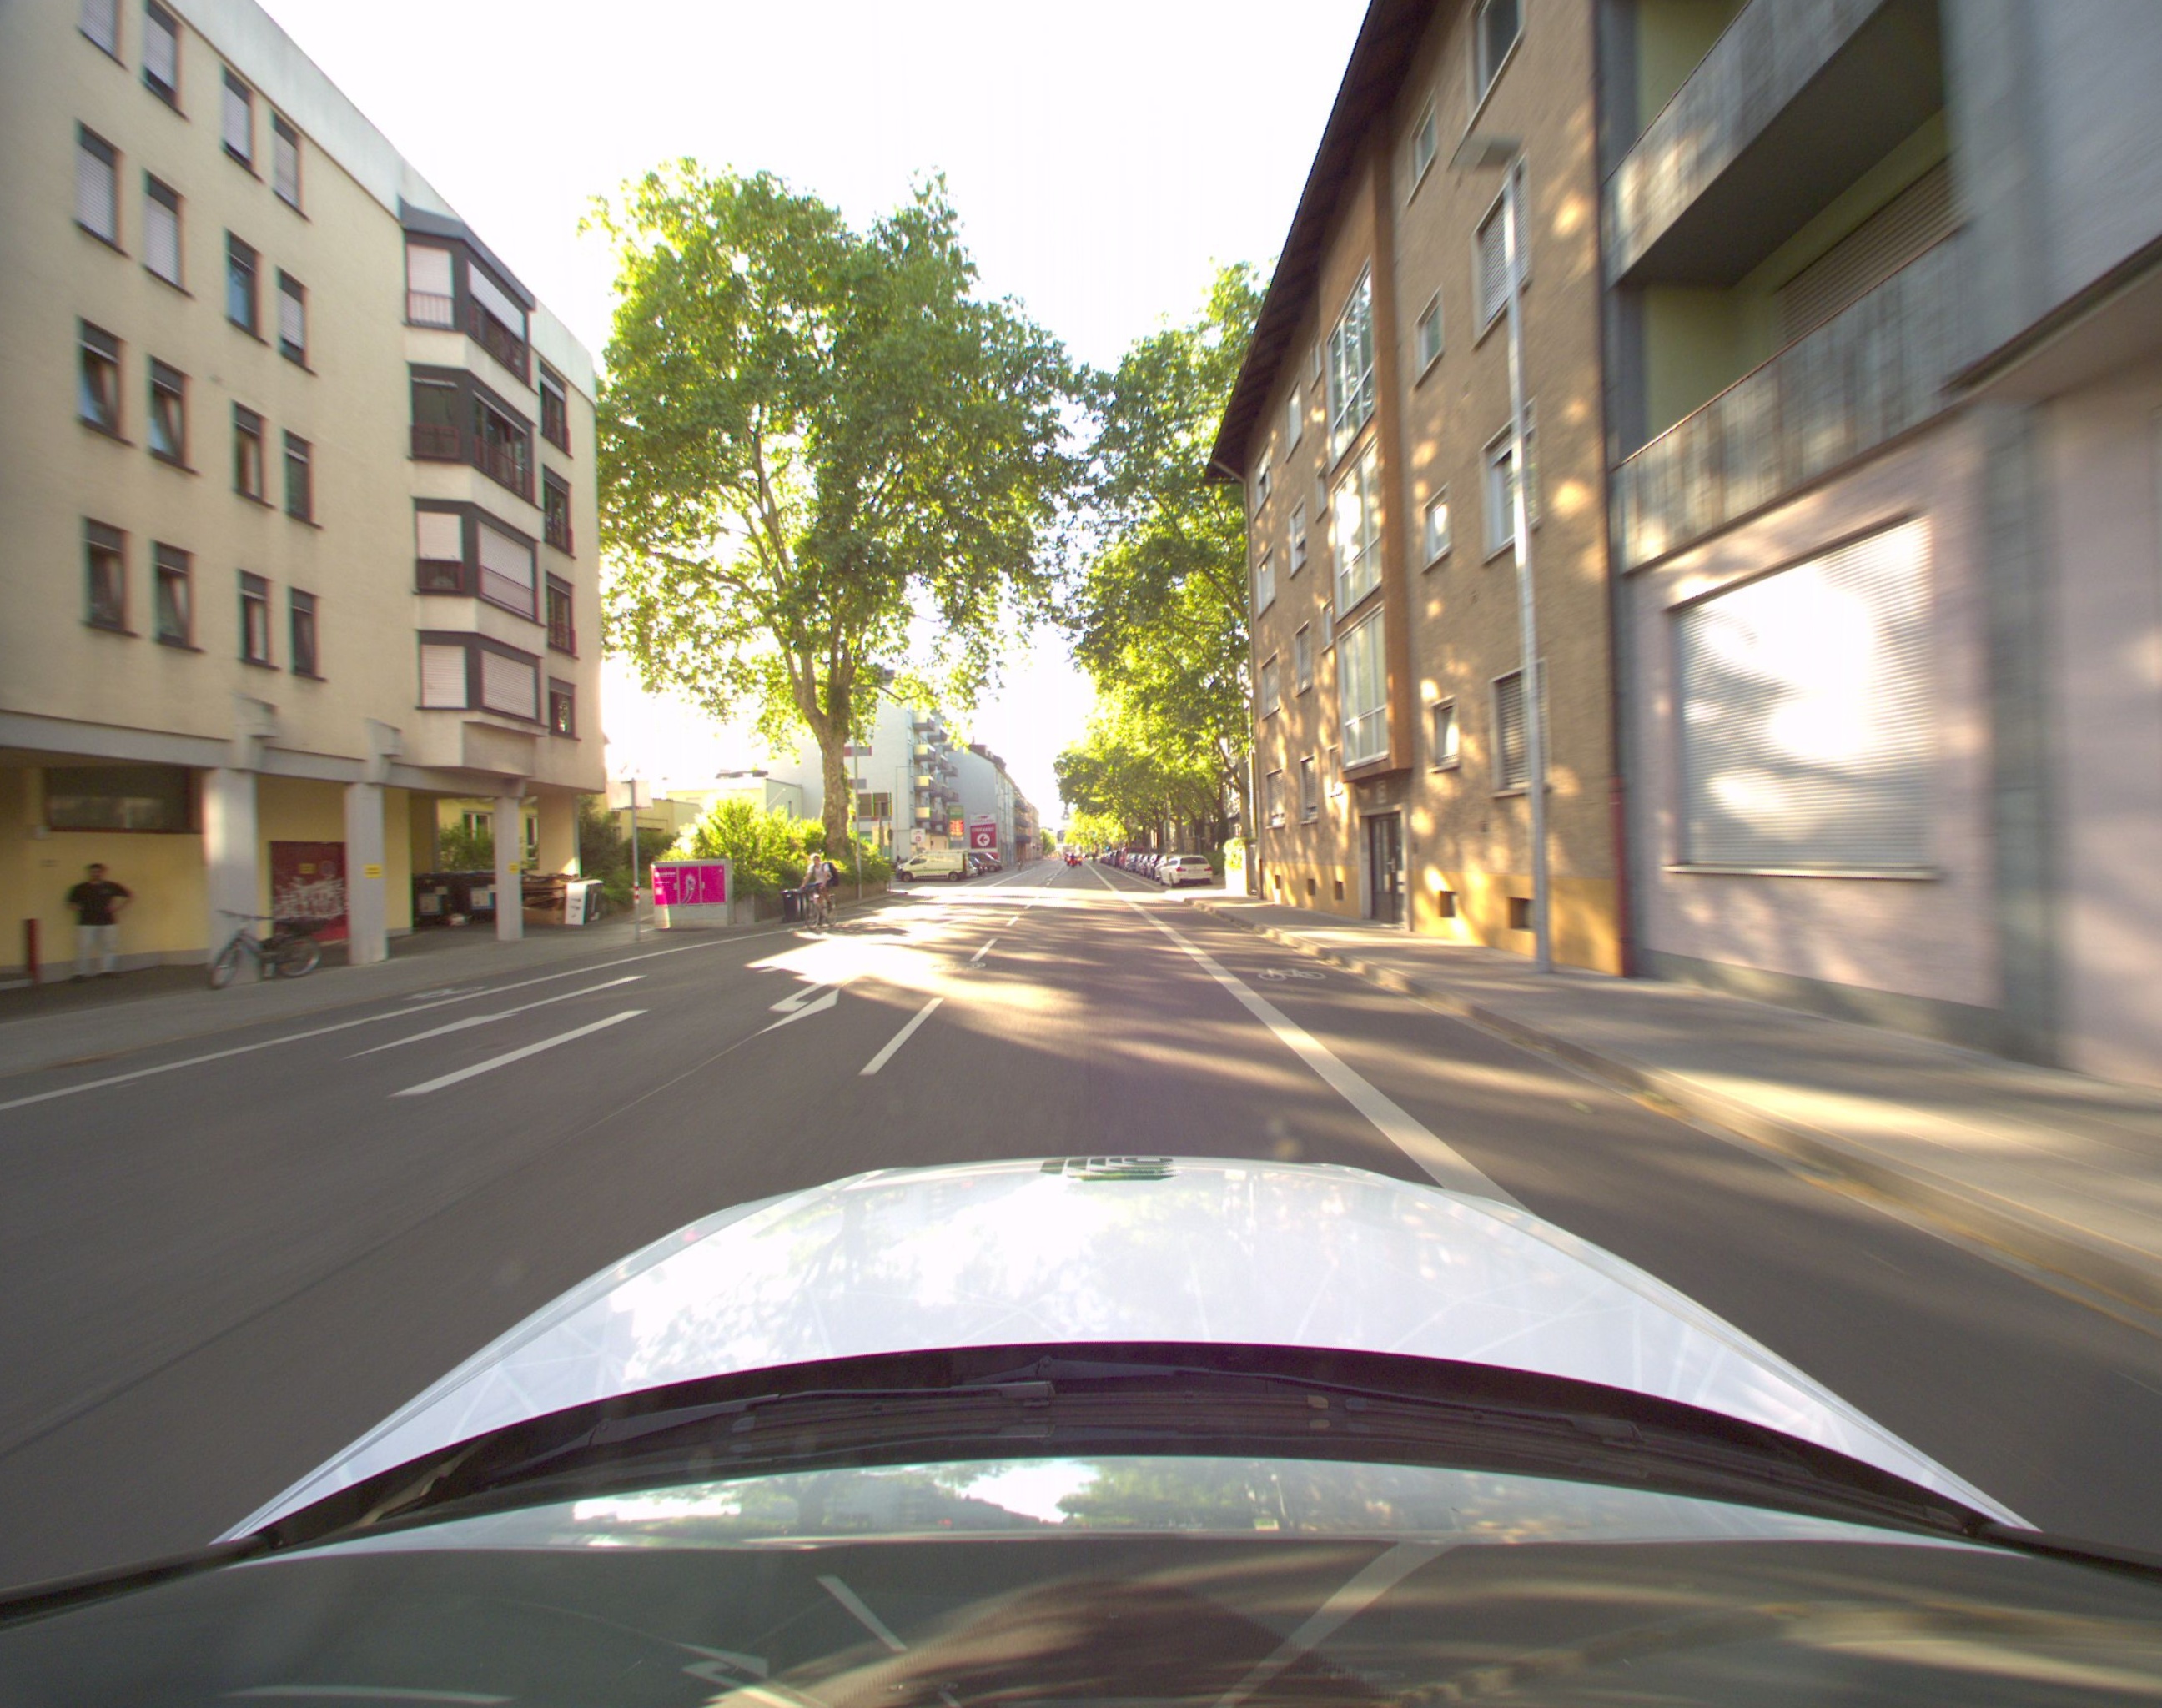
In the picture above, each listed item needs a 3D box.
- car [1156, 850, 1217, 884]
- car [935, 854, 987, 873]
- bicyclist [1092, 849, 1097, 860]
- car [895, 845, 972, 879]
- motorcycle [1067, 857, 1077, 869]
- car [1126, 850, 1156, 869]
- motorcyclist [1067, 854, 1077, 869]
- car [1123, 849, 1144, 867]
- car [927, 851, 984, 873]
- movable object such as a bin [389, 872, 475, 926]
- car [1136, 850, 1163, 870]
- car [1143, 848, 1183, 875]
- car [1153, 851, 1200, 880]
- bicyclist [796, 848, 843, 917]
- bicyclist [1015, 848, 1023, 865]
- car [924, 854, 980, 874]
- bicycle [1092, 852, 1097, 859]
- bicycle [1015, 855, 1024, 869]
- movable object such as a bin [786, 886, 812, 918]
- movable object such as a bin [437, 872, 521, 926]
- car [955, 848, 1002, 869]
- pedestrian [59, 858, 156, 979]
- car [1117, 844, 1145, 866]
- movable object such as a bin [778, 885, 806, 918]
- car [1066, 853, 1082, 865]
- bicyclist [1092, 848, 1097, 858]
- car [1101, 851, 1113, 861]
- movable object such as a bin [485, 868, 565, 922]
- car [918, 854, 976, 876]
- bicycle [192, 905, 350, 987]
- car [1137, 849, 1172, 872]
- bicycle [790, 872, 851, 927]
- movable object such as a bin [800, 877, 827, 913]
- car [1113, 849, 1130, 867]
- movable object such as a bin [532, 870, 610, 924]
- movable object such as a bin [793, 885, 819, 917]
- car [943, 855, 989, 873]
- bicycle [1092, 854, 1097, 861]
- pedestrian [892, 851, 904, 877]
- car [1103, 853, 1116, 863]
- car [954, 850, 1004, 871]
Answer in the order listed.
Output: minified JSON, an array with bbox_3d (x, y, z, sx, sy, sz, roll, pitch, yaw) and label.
[{"bbox_3d":[4.808,0.562,37.768,1.851,1.436,4.963,-1,0,-4],"label":"car"},{"bbox_3d":[-9.851,0.768,67.188,3.976,1.455,1.915,-1,0,-2],"label":"car"},{"bbox_3d":[2.049,0.070,121.996,0.654,1.530,0.851,0,-1,-2],"label":"bicyclist"},{"bbox_3d":[-9.962,0.526,55.336,4.830,2.216,2.139,0,0,-2],"label":"car"},{"bbox_3d":[-0.986,0.957,88.178,1.009,1.306,2.671,-2,0,-1],"label":"motorcycle"},{"bbox_3d":[4.767,0.411,65.143,1.851,1.510,3.924,1,0,-3],"label":"car"},{"bbox_3d":[-0.987,0.802,88.282,1.009,1.602,1.405,-2,0,-2],"label":"motorcyclist"},{"bbox_3d":[4.488,0.362,69.589,1.632,1.485,3.760,0,0,1],"label":"car"},{"bbox_3d":[-9.897,0.620,64.603,4.182,1.684,2.027,-1,0,-2],"label":"car"},{"bbox_3d":[-17.682,1.217,22.236,1.183,1.343,1.367,3,0,-1],"label":"movable object such as a bin"},{"bbox_3d":[5.070,0.431,60.795,1.609,1.475,3.490,0,0,-2],"label":"car"},{"bbox_3d":[4.862,0.411,48.895,1.850,1.522,4.294,0,0,-2],"label":"car"},{"bbox_3d":[5.009,0.582,43.269,1.850,1.436,4.599,-1,0,-2],"label":"car"},{"bbox_3d":[-6.457,0.681,20.151,0.726,1.641,1.168,-2,0,1],"label":"bicyclist"},{"bbox_3d":[-5.842,0.250,76.952,0.605,1.544,0.933,-4,1,-1],"label":"bicyclist"},{"bbox_3d":[-9.821,0.779,62.037,3.976,1.433,1.852,-1,0,-2],"label":"car"},{"bbox_3d":[2.163,0.212,129.952,0.654,1.111,2.184,0,-1,-1],"label":"bicycle"},{"bbox_3d":[-5.797,0.775,76.635,0.605,1.239,2.049,-4,1,-1],"label":"bicycle"},{"bbox_3d":[-8.347,1.408,24.110,0.540,0.901,0.559,-2,0,-1],"label":"movable object such as a bin"},{"bbox_3d":[-16.440,1.211,22.287,1.183,1.343,1.367,3,0,-1],"label":"movable object such as a bin"},{"bbox_3d":[-10.083,0.433,80.564,4.408,1.951,2.145,1,0,-1],"label":"car"},{"bbox_3d":[-15.498,0.995,12.985,0.608,1.869,0.799,-1,-1,16],"label":"pedestrian"},{"bbox_3d":[4.538,0.074,74.640,2.073,1.994,5.166,0,0,-3],"label":"car"},{"bbox_3d":[-8.342,1.371,23.517,0.540,0.901,0.604,-2,0,-1],"label":"movable object such as a bin"},{"bbox_3d":[-0.886,0.644,101.884,1.823,1.420,3.812,-1,0,-1],"label":"car"},{"bbox_3d":[2.163,-0.157,130.018,0.654,1.530,0.905,0,-1,-2],"label":"bicyclist"},{"bbox_3d":[3.868,0.298,122.931,1.687,1.466,4.065,0,0,0],"label":"car"},{"bbox_3d":[-15.203,1.102,22.322,1.183,1.343,1.367,3,0,-1],"label":"movable object such as a bin"},{"bbox_3d":[-9.824,0.777,59.911,3.976,1.559,1.852,-1,0,-2],"label":"car"},{"bbox_3d":[-12.623,1.397,12.786,0.447,1.045,2.010,-2,0,-1],"label":"bicycle"},{"bbox_3d":[4.900,0.404,55.054,1.850,1.522,4.596,0,0,-2],"label":"car"},{"bbox_3d":[-6.443,1.094,20.274,0.726,1.199,2.179,-3,0,1],"label":"bicycle"},{"bbox_3d":[-8.326,1.260,25.396,0.592,1.071,0.644,-2,0,-1],"label":"movable object such as a bin"},{"bbox_3d":[4.247,0.402,85.732,1.687,1.813,4.130,0,0,0],"label":"car"},{"bbox_3d":[-13.963,1.168,22.352,1.183,1.343,1.367,3,0,-1],"label":"movable object such as a bin"},{"bbox_3d":[-8.355,1.414,24.727,0.540,0.901,0.644,-2,0,-1],"label":"movable object such as a bin"},{"bbox_3d":[-9.800,0.832,69.684,3.675,1.513,1.830,0,0,-1],"label":"car"},{"bbox_3d":[2.051,0.479,121.993,0.654,1.070,1.926,0,-1,-1],"label":"bicycle"},{"bbox_3d":[-13.041,0.721,58.059,0.629,1.789,0.722,-2,0,-1],"label":"pedestrian"},{"bbox_3d":[4.019,0.572,117.044,1.688,1.479,4.317,0,0,-1],"label":"car"},{"bbox_3d":[-9.675,0.611,77.718,4.509,1.951,2.056,1,0,-1],"label":"car"}]
